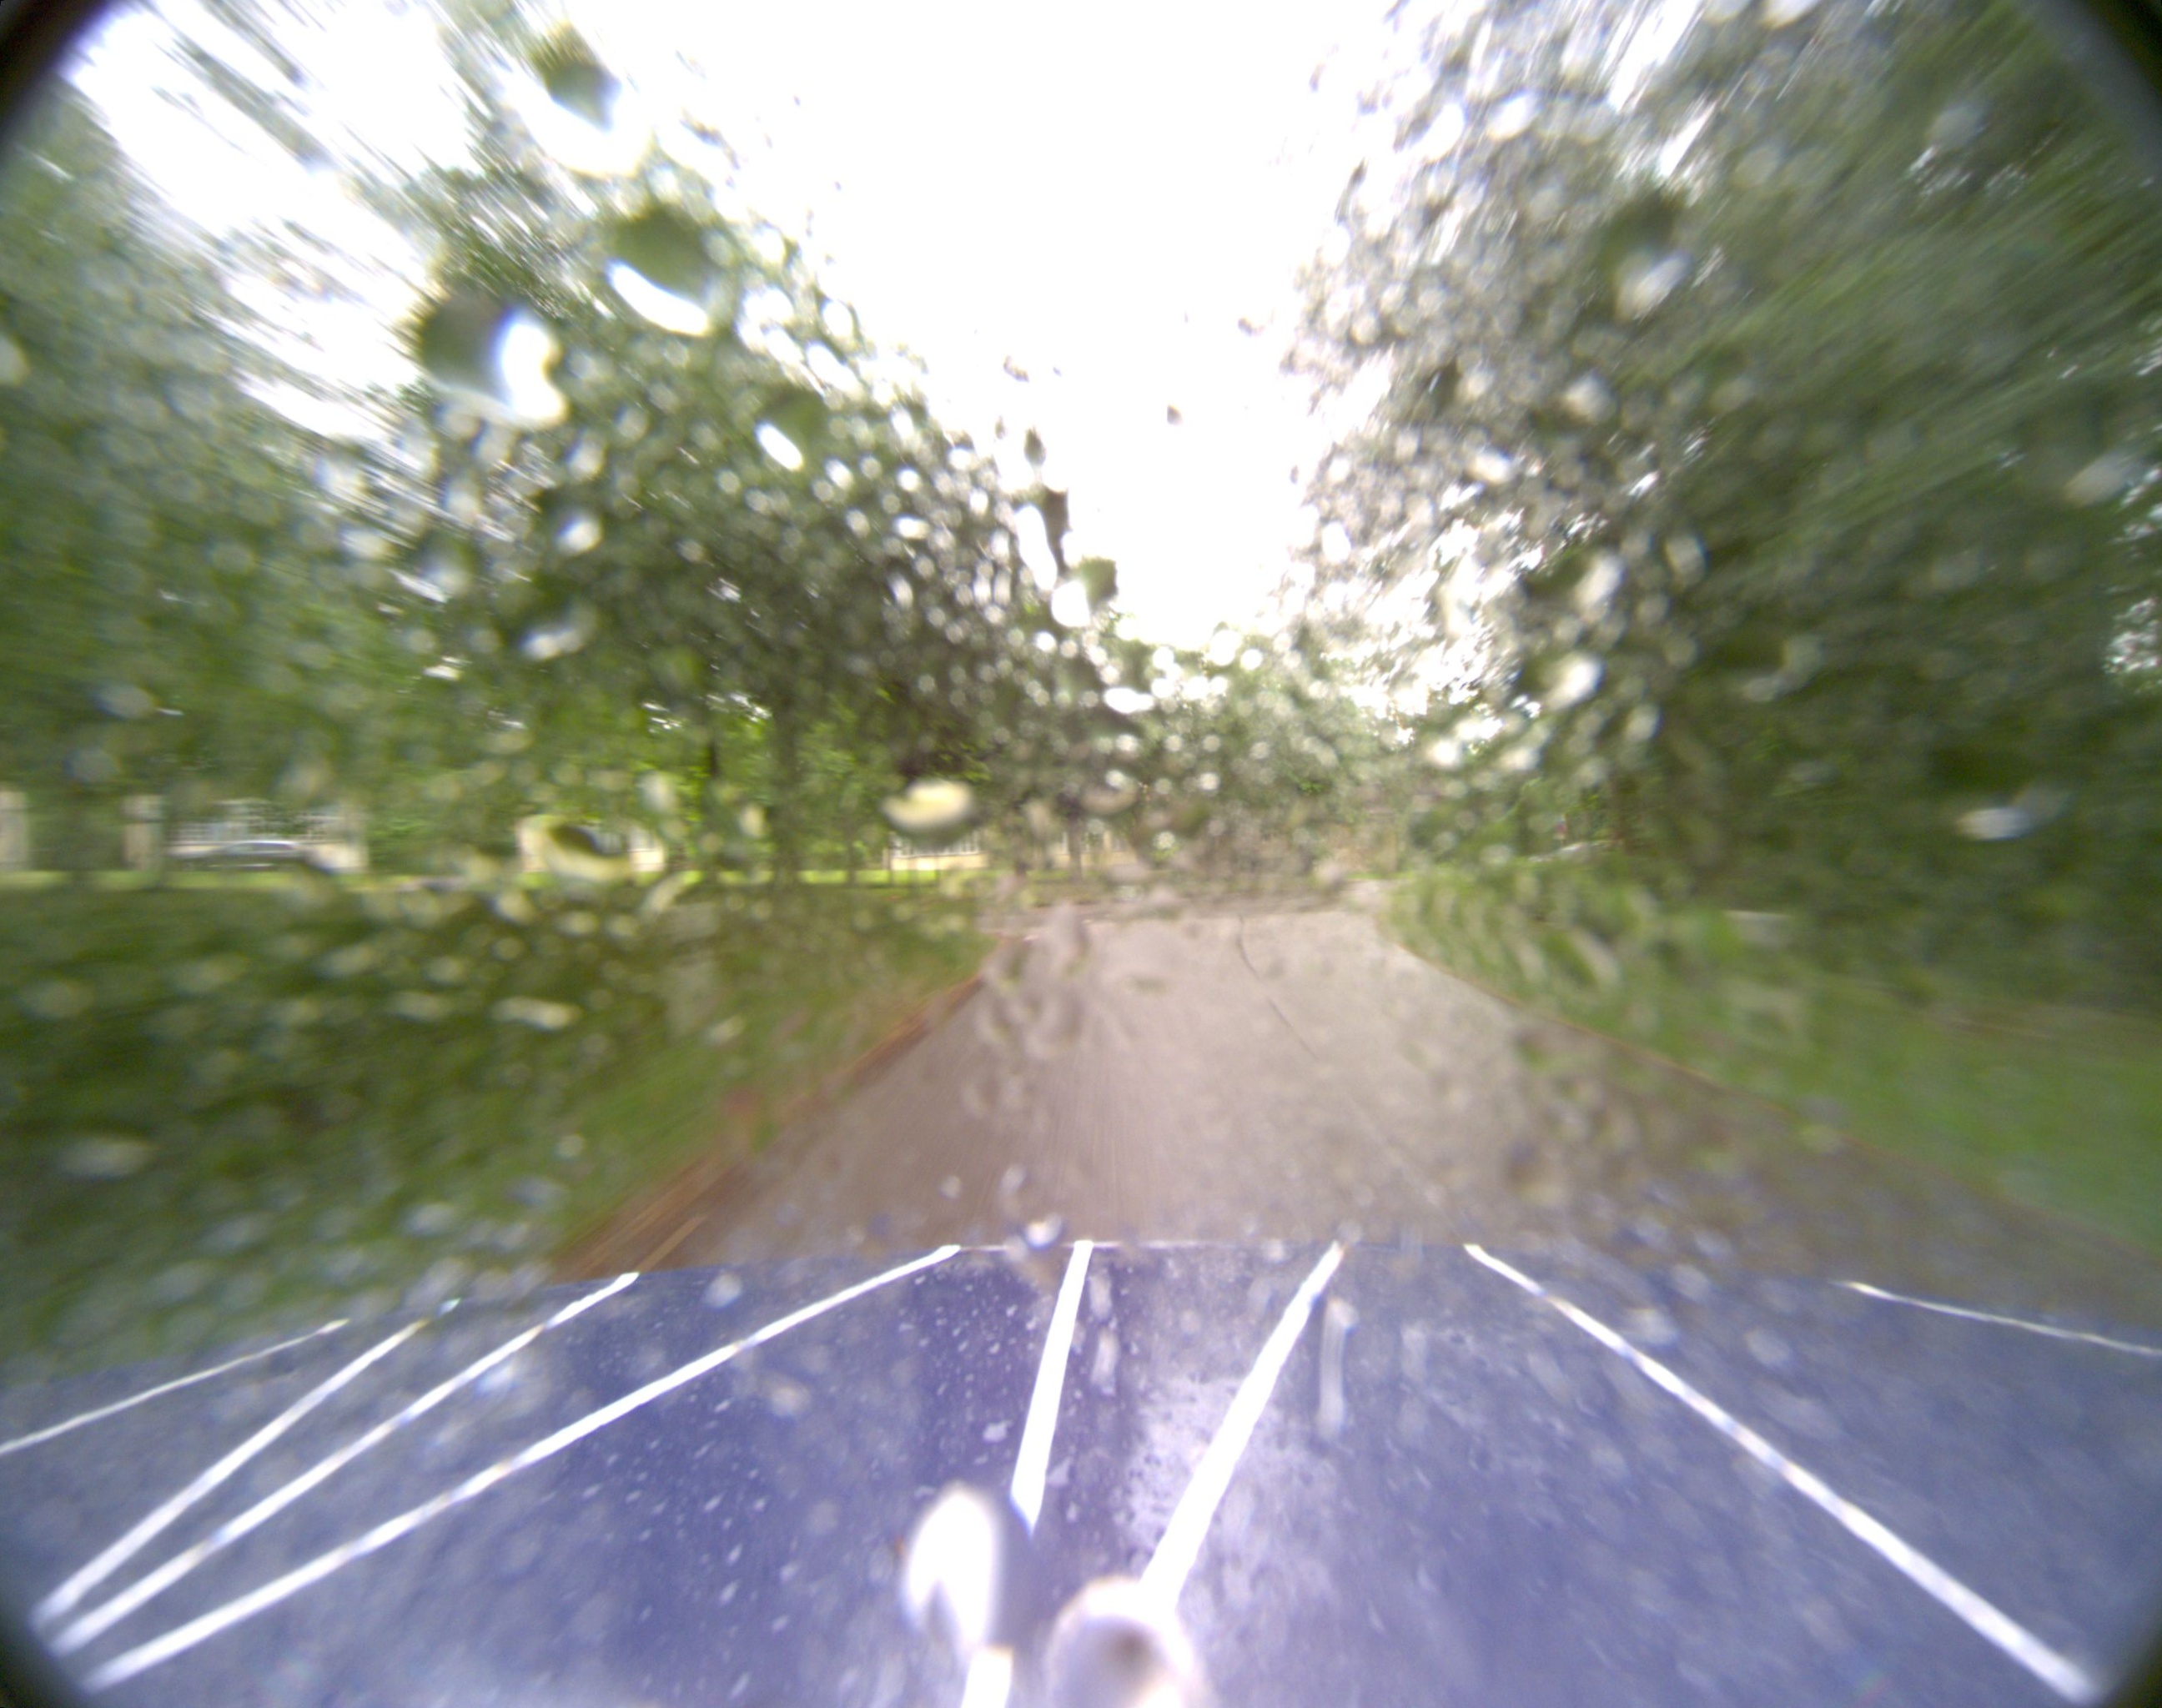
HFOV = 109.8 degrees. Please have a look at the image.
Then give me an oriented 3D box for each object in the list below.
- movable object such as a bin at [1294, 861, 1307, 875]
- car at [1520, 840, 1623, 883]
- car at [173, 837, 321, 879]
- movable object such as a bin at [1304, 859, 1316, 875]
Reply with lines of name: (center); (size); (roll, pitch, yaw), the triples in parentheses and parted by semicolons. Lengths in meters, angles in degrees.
movable object such as a bin: (15.257, 0.942, 52.770); (0.631, 0.948, 0.762); (-2, 0, 30)
car: (24.576, 0.351, 38.175); (3.988, 2.002, 2.004); (1, 0, 45)
car: (-39.146, 0.160, 35.835); (1.995, 1.824, 4.575); (-2, -1, 43)
movable object such as a bin: (16.059, 0.920, 53.288); (0.631, 1.068, 0.762); (-2, 0, 30)
